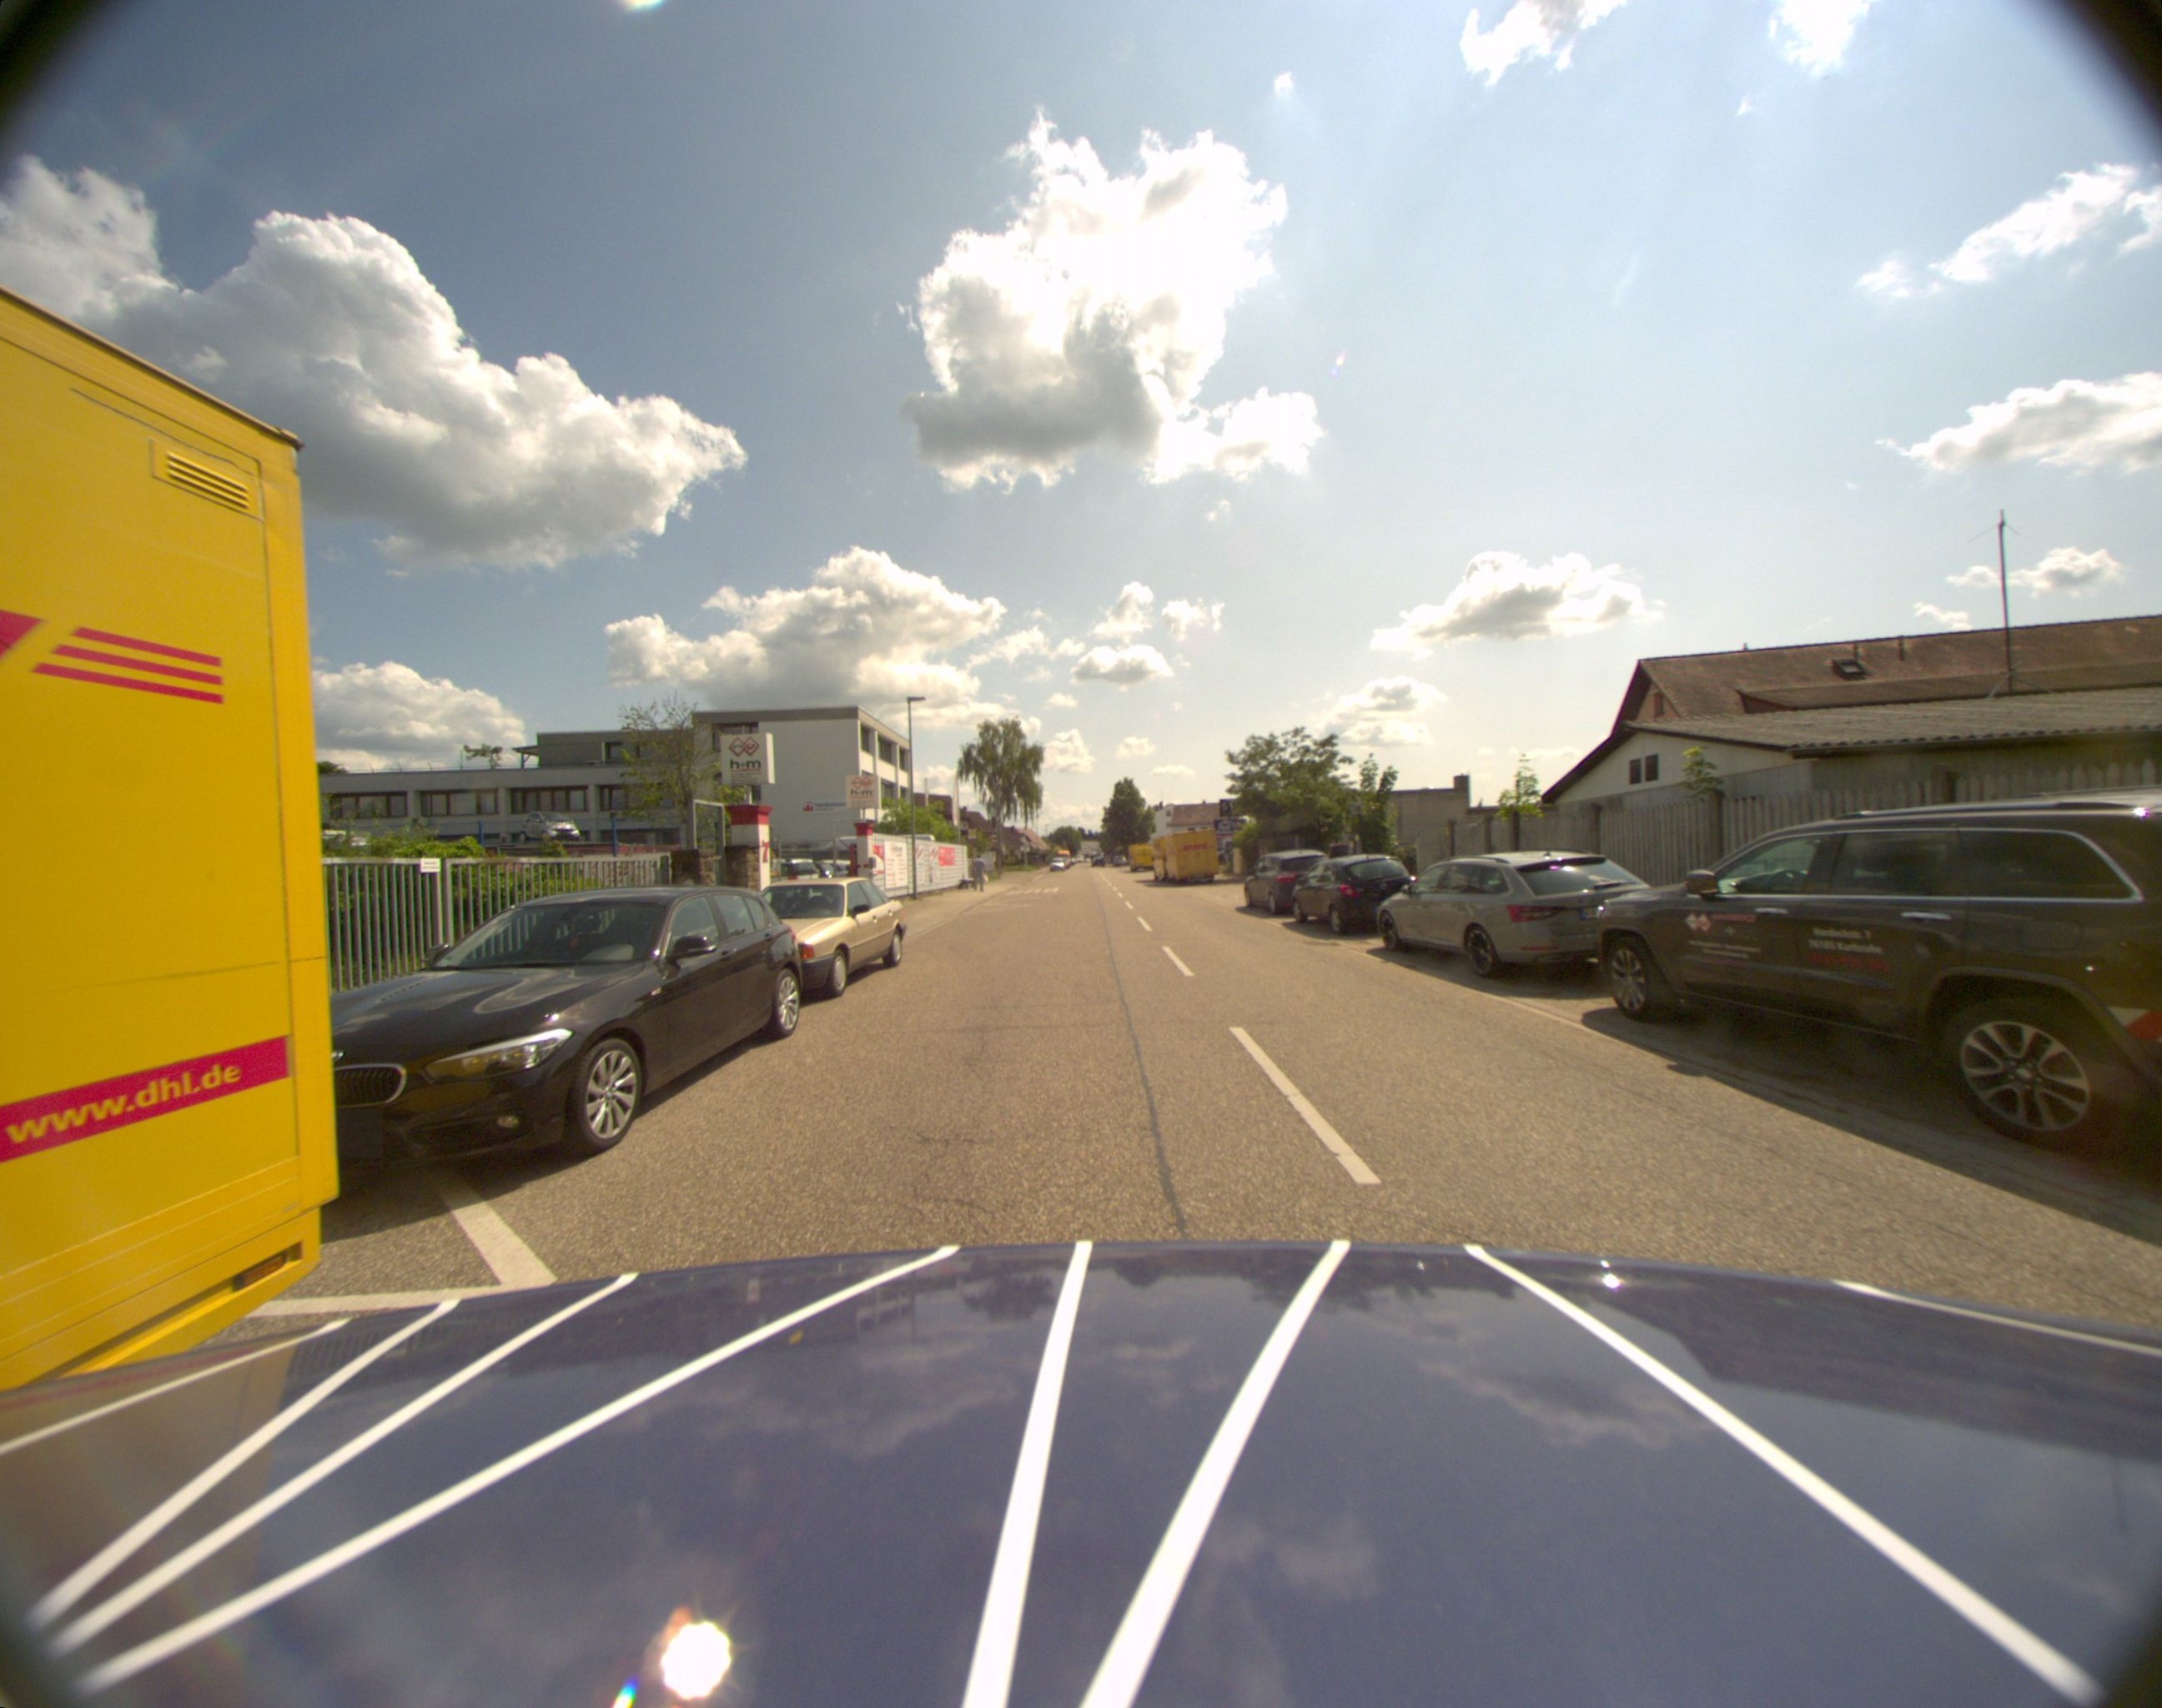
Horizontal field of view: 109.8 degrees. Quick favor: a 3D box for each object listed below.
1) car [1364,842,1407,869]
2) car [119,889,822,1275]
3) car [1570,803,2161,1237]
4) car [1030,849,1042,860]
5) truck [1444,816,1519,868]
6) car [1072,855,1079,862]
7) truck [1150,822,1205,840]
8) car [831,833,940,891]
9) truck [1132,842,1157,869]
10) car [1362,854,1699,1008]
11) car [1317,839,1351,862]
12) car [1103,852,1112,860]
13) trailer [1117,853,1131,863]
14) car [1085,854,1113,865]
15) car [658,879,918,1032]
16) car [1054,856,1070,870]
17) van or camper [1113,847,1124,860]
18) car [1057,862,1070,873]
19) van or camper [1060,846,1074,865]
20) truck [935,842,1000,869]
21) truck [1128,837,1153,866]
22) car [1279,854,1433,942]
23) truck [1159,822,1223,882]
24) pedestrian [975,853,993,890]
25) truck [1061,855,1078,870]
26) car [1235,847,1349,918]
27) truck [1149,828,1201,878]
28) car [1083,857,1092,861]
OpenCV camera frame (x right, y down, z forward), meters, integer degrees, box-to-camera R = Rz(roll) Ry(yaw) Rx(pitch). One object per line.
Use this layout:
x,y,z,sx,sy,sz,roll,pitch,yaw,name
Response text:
18.380,0.045,46.007,1.768,1.504,3.921,-2,0,13,car
-3.479,1.131,5.578,1.666,1.433,4.282,-3,0,-1,car
5.605,0.654,4.911,1.923,1.811,4.786,-4,0,3,car
-7.755,0.119,130.957,1.862,1.855,5.018,-2,0,-4,car
21.000,-0.600,40.117,2.114,2.473,5.726,-2,0,14,truck
-1.566,1.176,207.478,1.896,1.763,4.709,-2,0,0,car
16.409,-3.883,129.739,9.278,2.839,2.721,-2,0,5,truck
-9.670,0.369,37.972,4.922,2.636,2.072,-2,1,-7,car
6.259,0.123,75.068,1.998,2.399,6.065,-4,0,2,truck
5.662,0.827,10.452,1.737,1.509,4.742,-4,0,0,car
15.793,-0.193,47.564,1.812,1.297,3.874,-1,-1,15,car
6.293,0.512,180.683,1.814,1.795,4.491,-5,0,0,car
6.491,0.639,115.222,1.766,1.282,4.508,-5,0,1,trailer
2.628,0.814,112.165,2.002,1.386,4.583,-4,0,-28,car
-3.595,1.158,10.299,1.656,1.379,4.422,-3,0,1,car
-2.263,1.072,90.807,1.614,1.571,4.000,-3,0,2,car
7.555,-0.085,154.088,1.998,2.303,5.934,-5,0,3,van or camper
-2.329,1.778,102.190,1.673,1.327,4.437,-2,0,0,car
-2.124,0.205,114.831,1.999,2.648,5.768,-2,0,-1,van or camper
-11.787,0.168,79.135,6.067,2.562,2.561,-3,0,-26,truck
6.392,-0.281,82.201,2.226,2.840,7.070,-4,0,2,truck
5.635,0.822,16.131,1.632,1.440,4.026,-6,0,-1,car
5.869,-0.124,41.473,2.322,2.846,7.104,-5,0,0,truck
-4.598,0.807,35.879,0.717,1.687,0.522,3,1,-4,pedestrian
-1.874,1.453,127.372,2.528,2.286,5.895,-4,0,1,truck
5.679,0.699,21.077,1.729,1.595,4.413,-5,0,-1,car
5.897,-0.040,48.584,2.275,2.838,7.174,-3,0,0,truck
2.171,1.640,252.871,1.817,1.513,4.269,-1,0,14,car
